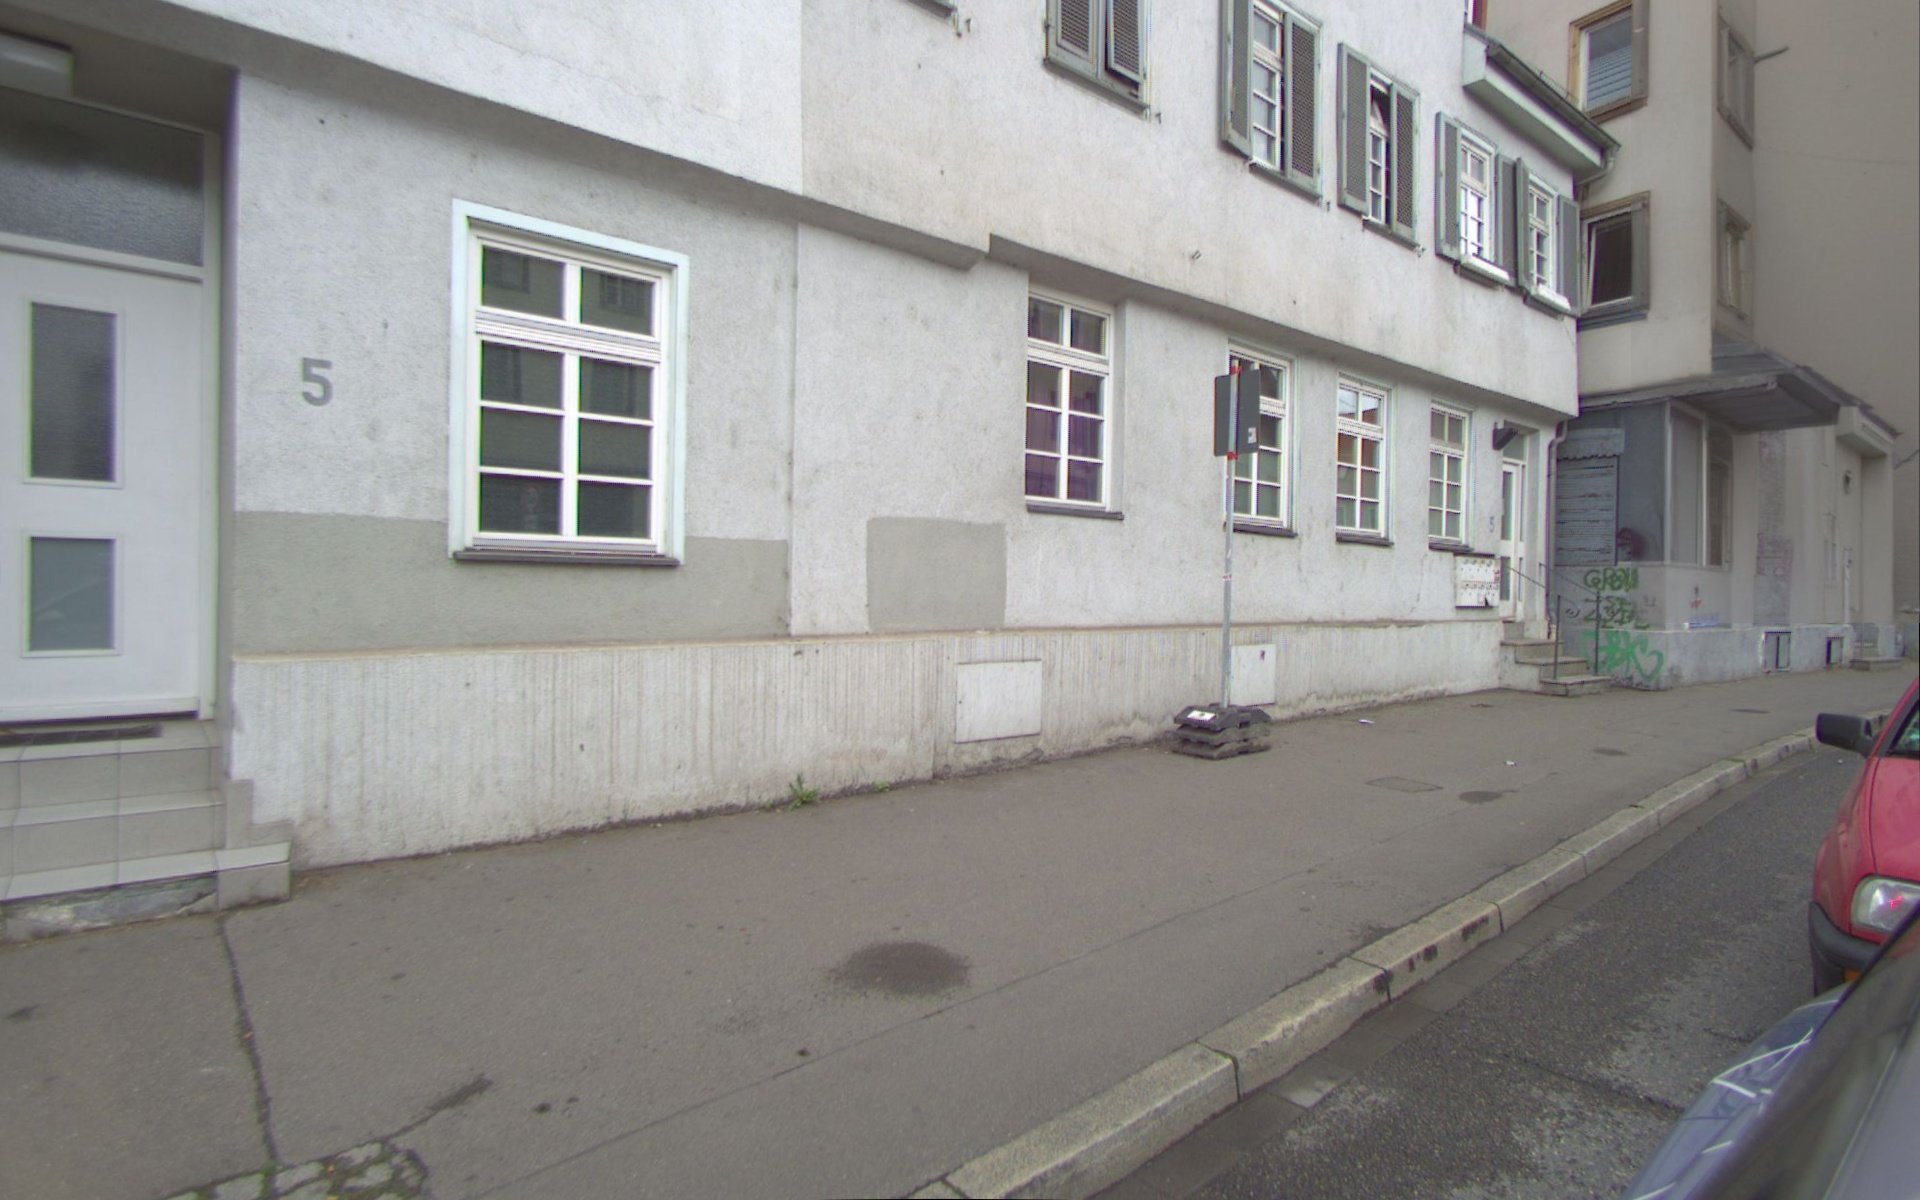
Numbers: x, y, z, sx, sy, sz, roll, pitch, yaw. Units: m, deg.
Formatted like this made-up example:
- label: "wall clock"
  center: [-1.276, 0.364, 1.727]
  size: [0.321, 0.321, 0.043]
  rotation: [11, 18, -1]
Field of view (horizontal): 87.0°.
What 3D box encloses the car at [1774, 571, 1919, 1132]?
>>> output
- label: "car"
  center: [4.435, 0.637, 3.531]
  size: [3.930, 1.443, 1.791]
  rotation: [-3, 3, -40]
